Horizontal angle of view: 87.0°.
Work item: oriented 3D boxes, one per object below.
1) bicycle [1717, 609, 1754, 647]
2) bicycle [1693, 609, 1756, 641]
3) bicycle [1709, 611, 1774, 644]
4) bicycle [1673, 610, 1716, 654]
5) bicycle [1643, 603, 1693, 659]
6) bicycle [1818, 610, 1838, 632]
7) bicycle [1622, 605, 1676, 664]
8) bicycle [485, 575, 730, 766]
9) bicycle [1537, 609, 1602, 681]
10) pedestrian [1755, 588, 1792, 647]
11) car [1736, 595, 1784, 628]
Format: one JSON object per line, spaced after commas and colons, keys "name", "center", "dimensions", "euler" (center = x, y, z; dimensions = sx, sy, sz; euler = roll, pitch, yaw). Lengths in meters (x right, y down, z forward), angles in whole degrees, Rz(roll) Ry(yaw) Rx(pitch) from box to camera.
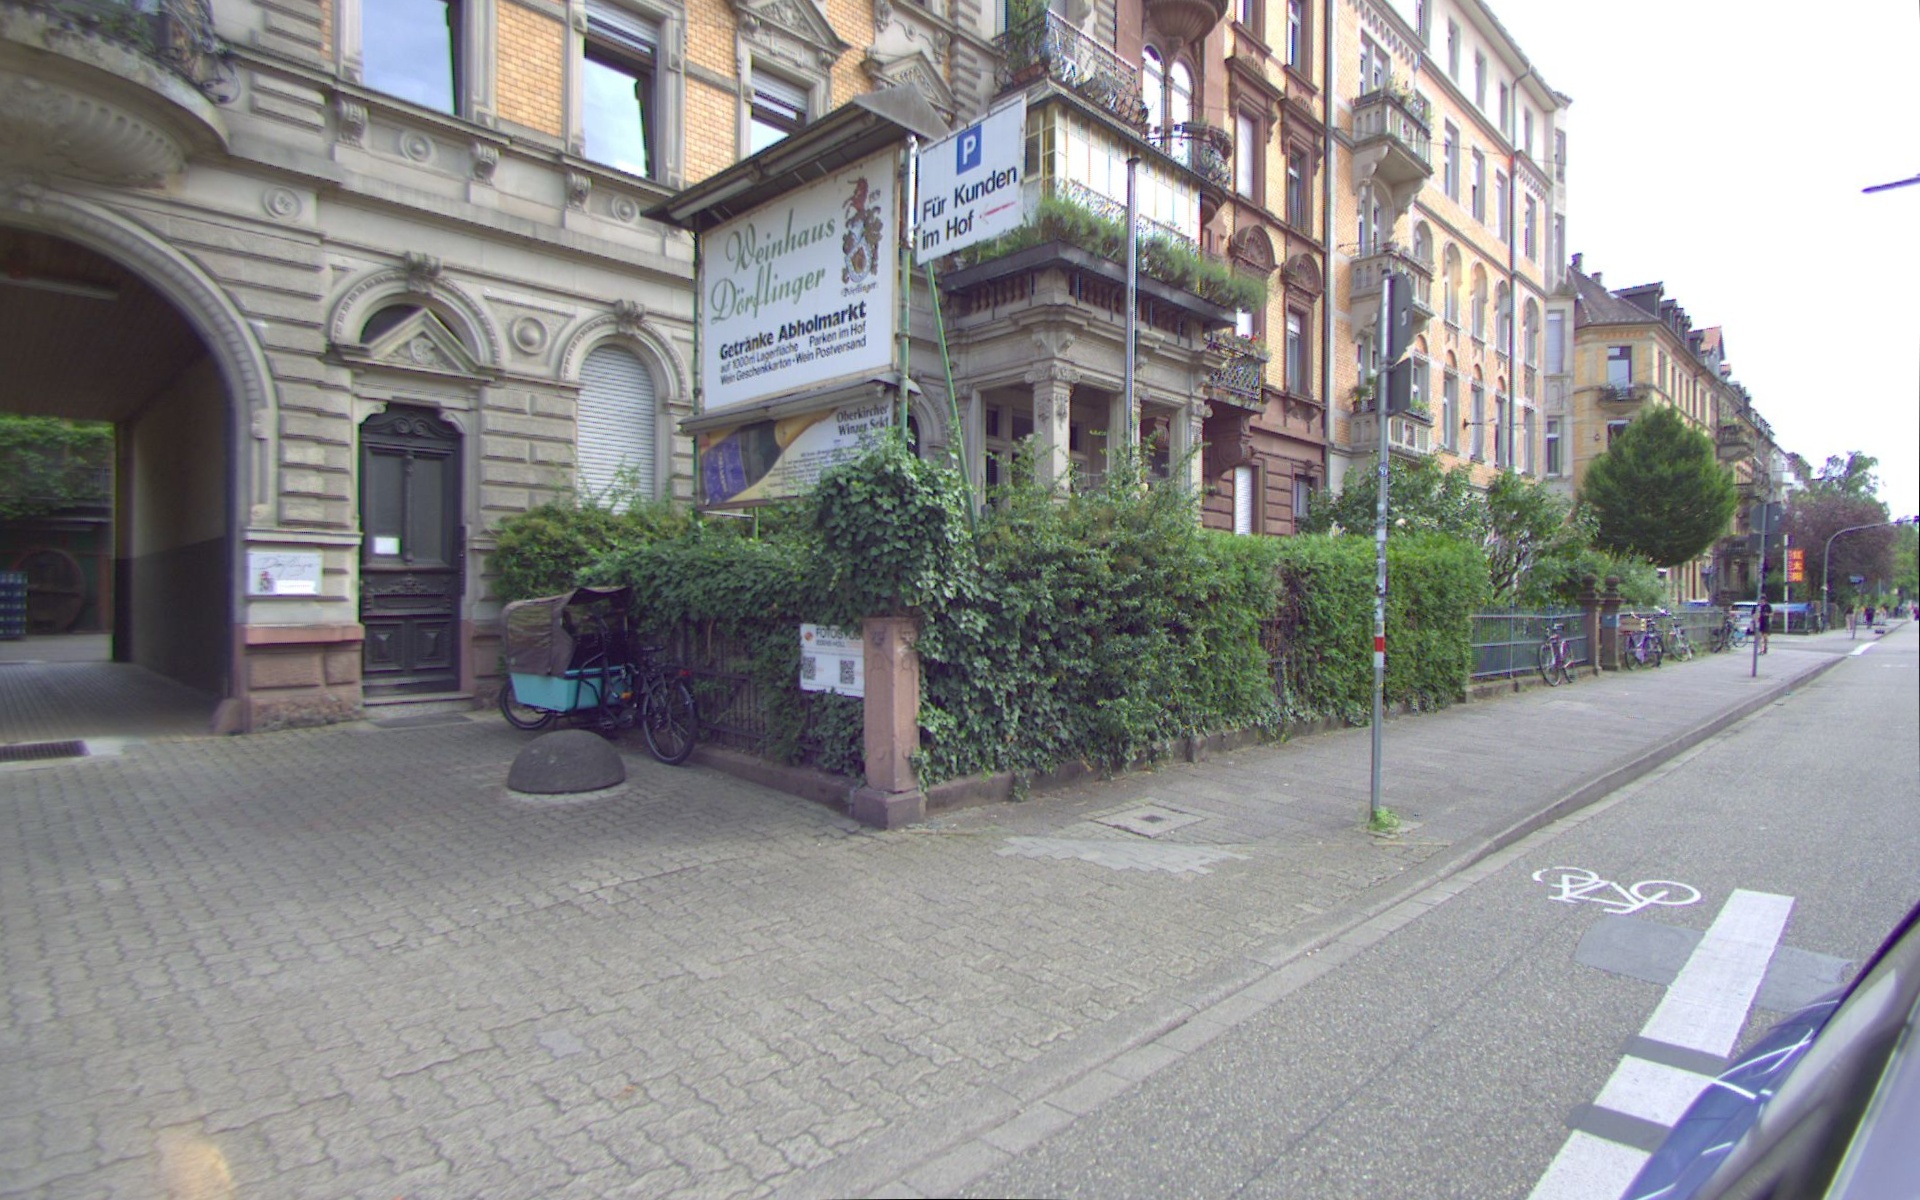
{"name": "bicycle", "center": [22.003, 0.785, 28.705], "dimensions": [0.579, 0.995, 1.645], "euler": [6, 4, 44]}
{"name": "bicycle", "center": [29.449, 0.953, 39.006], "dimensions": [0.522, 1.142, 1.896], "euler": [1, 0, -28]}
{"name": "bicycle", "center": [27.848, 0.986, 36.074], "dimensions": [1.838, 1.127, 0.631], "euler": [1, 0, -2]}
{"name": "bicycle", "center": [17.884, 0.764, 24.630], "dimensions": [0.579, 0.995, 1.645], "euler": [6, 4, 44]}
{"name": "bicycle", "center": [15.422, 0.652, 22.034], "dimensions": [0.579, 1.125, 1.645], "euler": [5, 4, 44]}
{"name": "bicycle", "center": [44.515, 1.067, 51.906], "dimensions": [1.843, 1.127, 0.629], "euler": [0, 0, -44]}
{"name": "bicycle", "center": [14.069, 0.682, 20.641], "dimensions": [0.579, 1.125, 1.645], "euler": [5, 4, 44]}
{"name": "bicycle", "center": [-2.940, 0.476, 8.225], "dimensions": [2.623, 1.328, 0.758], "euler": [1, 0, 43]}
{"name": "bicycle", "center": [10.253, 0.727, 17.004], "dimensions": [0.579, 1.126, 1.645], "euler": [0, 0, 44]}
{"name": "pedestrian", "center": [22.951, 0.484, 28.539], "dimensions": [0.730, 1.644, 0.822], "euler": [0, 0, 45]}
{"name": "car", "center": [39.036, 0.539, 49.355], "dimensions": [1.749, 1.544, 3.943], "euler": [0, 0, 39]}
